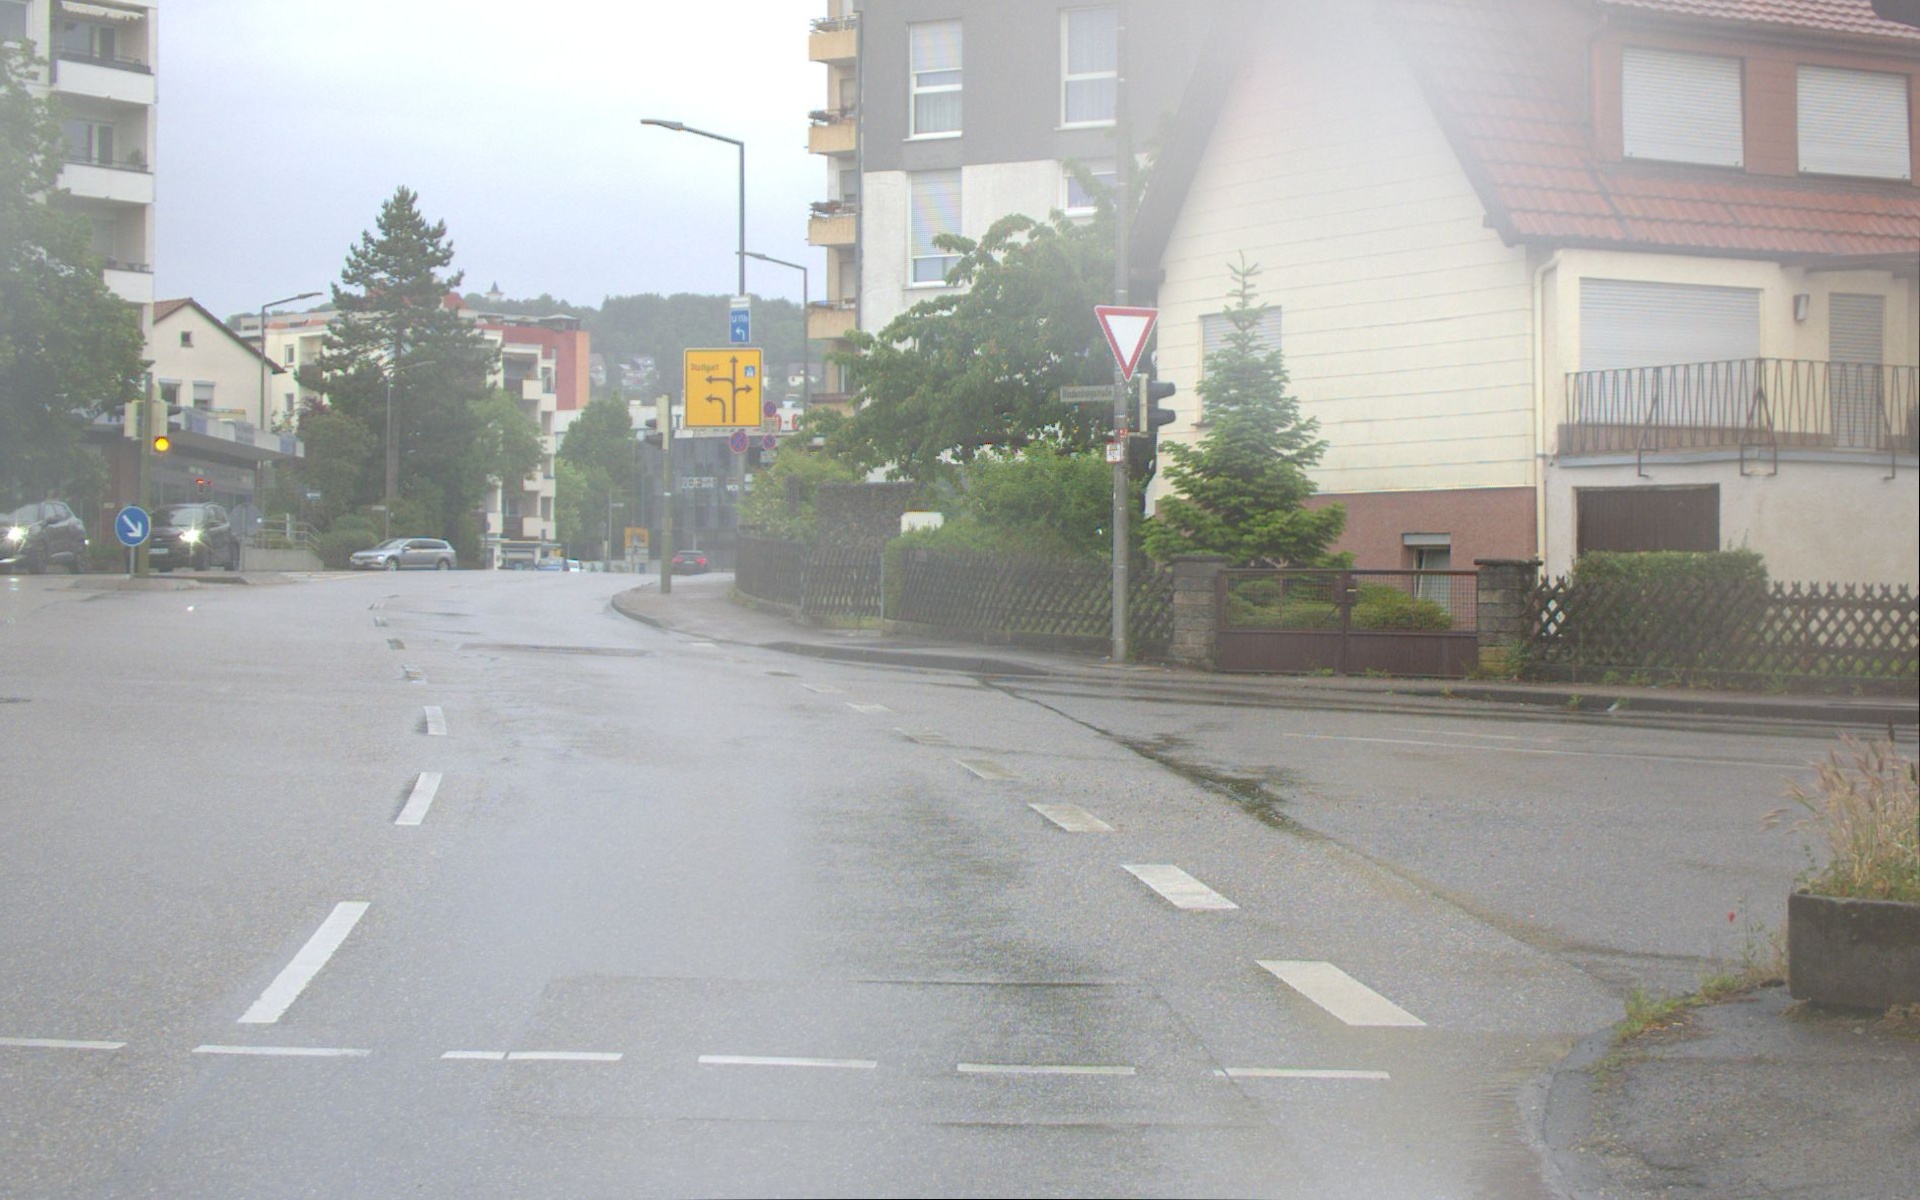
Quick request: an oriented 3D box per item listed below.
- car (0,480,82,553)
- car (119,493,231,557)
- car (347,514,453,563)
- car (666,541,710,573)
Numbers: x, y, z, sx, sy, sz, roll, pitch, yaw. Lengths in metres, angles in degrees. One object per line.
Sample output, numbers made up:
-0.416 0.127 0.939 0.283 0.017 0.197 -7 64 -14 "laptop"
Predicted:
-18.628 -1.658 67.648 1.715 1.382 4.021 0 2 -1 "car"
-18.079 -1.742 79.316 1.778 1.415 3.831 0 2 -1 "car"
-21.502 -2.371 132.110 3.848 1.809 1.761 0 2 -4 "car"
-13.201 -2.088 167.027 1.813 1.481 4.189 0 2 0 "car"
